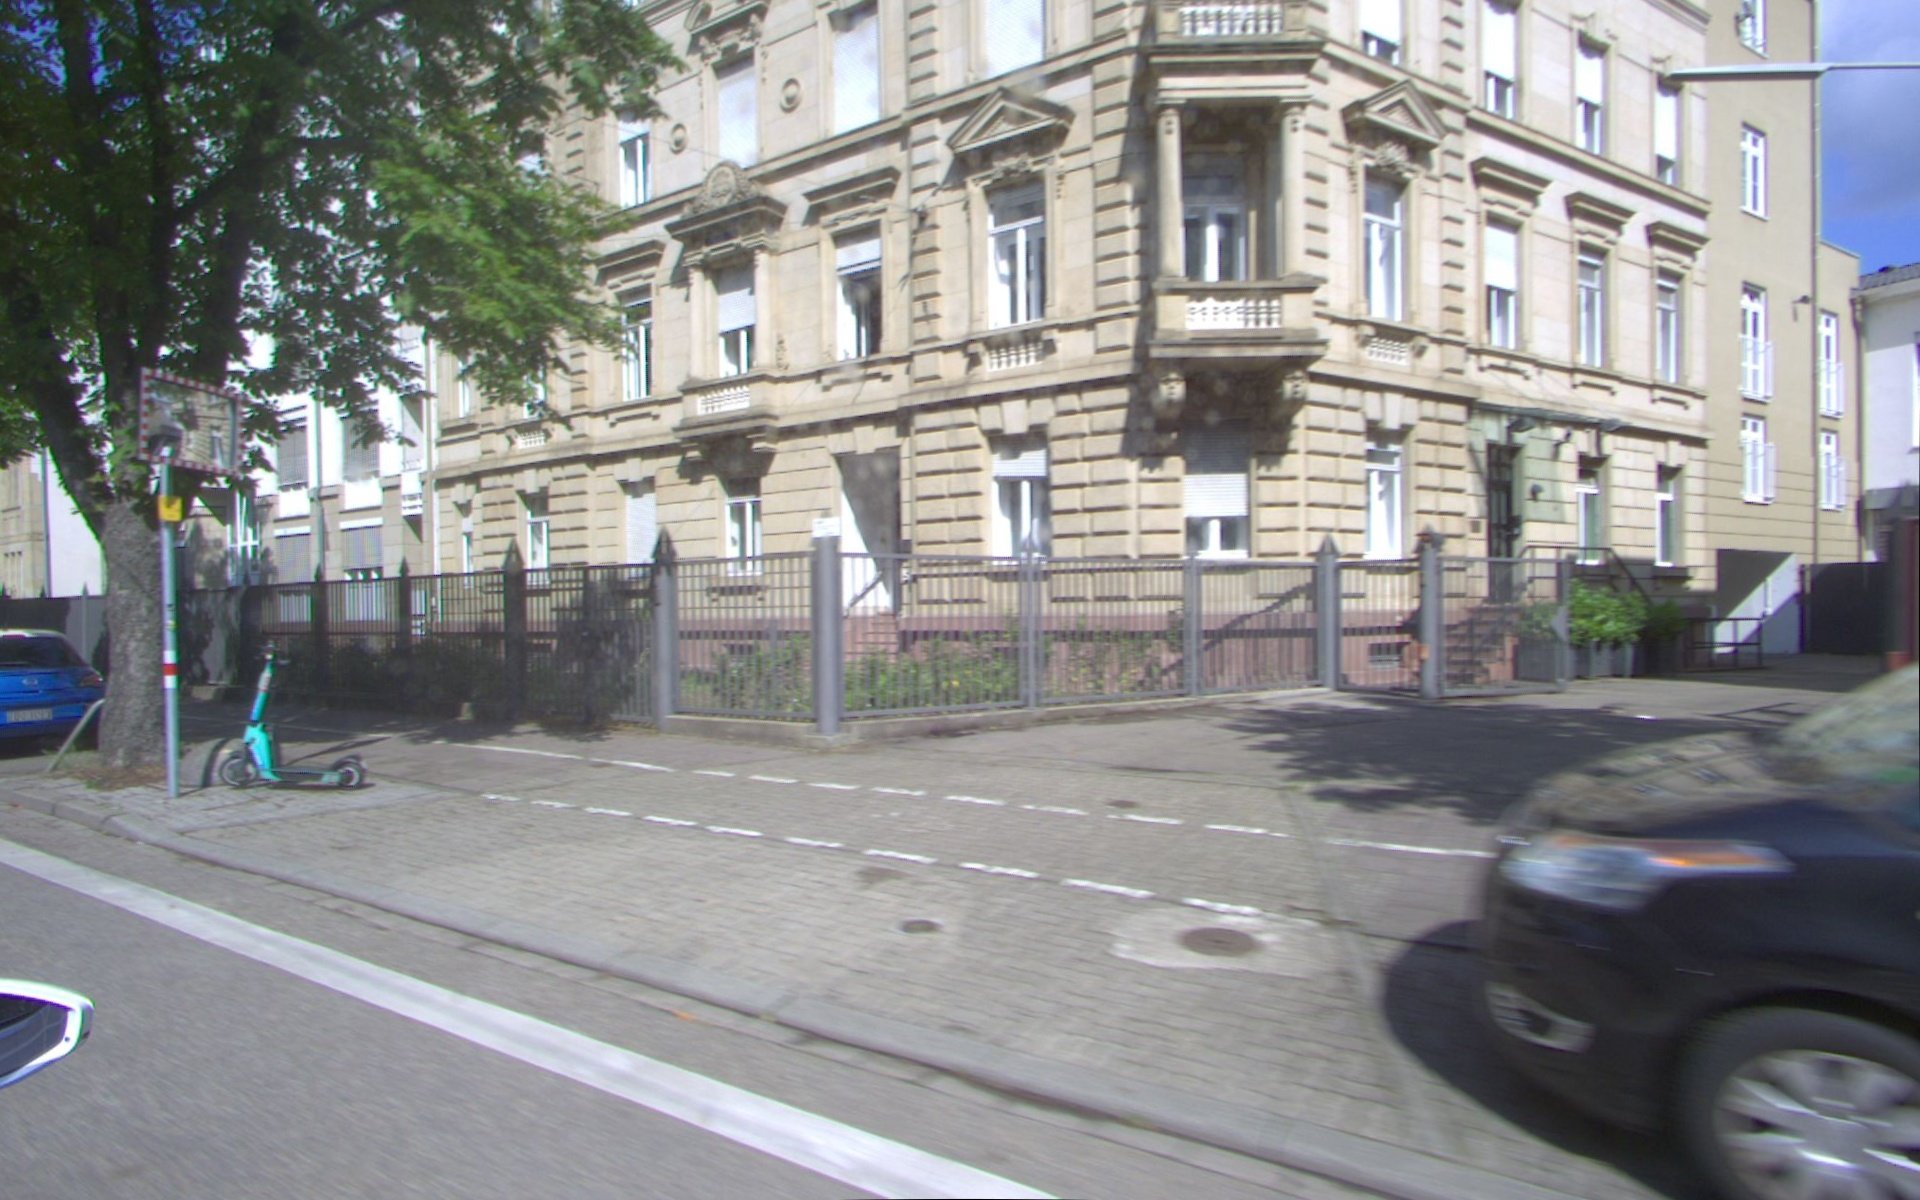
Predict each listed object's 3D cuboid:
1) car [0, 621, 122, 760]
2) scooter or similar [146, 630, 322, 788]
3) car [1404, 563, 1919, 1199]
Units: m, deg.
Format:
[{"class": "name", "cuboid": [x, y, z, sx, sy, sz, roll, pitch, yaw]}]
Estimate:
[{"class": "car", "cuboid": [-12.150, 1.051, 12.374, 3.573, 1.516, 1.636, -1, 1, 31]}, {"class": "scooter or similar", "cuboid": [-6.315, 0.939, 8.742, 1.159, 1.318, 0.441, 0, 3, 1]}, {"class": "car", "cuboid": [3.419, 0.687, 2.377, 4.142, 1.612, 1.693, -1, 1, 31]}]
